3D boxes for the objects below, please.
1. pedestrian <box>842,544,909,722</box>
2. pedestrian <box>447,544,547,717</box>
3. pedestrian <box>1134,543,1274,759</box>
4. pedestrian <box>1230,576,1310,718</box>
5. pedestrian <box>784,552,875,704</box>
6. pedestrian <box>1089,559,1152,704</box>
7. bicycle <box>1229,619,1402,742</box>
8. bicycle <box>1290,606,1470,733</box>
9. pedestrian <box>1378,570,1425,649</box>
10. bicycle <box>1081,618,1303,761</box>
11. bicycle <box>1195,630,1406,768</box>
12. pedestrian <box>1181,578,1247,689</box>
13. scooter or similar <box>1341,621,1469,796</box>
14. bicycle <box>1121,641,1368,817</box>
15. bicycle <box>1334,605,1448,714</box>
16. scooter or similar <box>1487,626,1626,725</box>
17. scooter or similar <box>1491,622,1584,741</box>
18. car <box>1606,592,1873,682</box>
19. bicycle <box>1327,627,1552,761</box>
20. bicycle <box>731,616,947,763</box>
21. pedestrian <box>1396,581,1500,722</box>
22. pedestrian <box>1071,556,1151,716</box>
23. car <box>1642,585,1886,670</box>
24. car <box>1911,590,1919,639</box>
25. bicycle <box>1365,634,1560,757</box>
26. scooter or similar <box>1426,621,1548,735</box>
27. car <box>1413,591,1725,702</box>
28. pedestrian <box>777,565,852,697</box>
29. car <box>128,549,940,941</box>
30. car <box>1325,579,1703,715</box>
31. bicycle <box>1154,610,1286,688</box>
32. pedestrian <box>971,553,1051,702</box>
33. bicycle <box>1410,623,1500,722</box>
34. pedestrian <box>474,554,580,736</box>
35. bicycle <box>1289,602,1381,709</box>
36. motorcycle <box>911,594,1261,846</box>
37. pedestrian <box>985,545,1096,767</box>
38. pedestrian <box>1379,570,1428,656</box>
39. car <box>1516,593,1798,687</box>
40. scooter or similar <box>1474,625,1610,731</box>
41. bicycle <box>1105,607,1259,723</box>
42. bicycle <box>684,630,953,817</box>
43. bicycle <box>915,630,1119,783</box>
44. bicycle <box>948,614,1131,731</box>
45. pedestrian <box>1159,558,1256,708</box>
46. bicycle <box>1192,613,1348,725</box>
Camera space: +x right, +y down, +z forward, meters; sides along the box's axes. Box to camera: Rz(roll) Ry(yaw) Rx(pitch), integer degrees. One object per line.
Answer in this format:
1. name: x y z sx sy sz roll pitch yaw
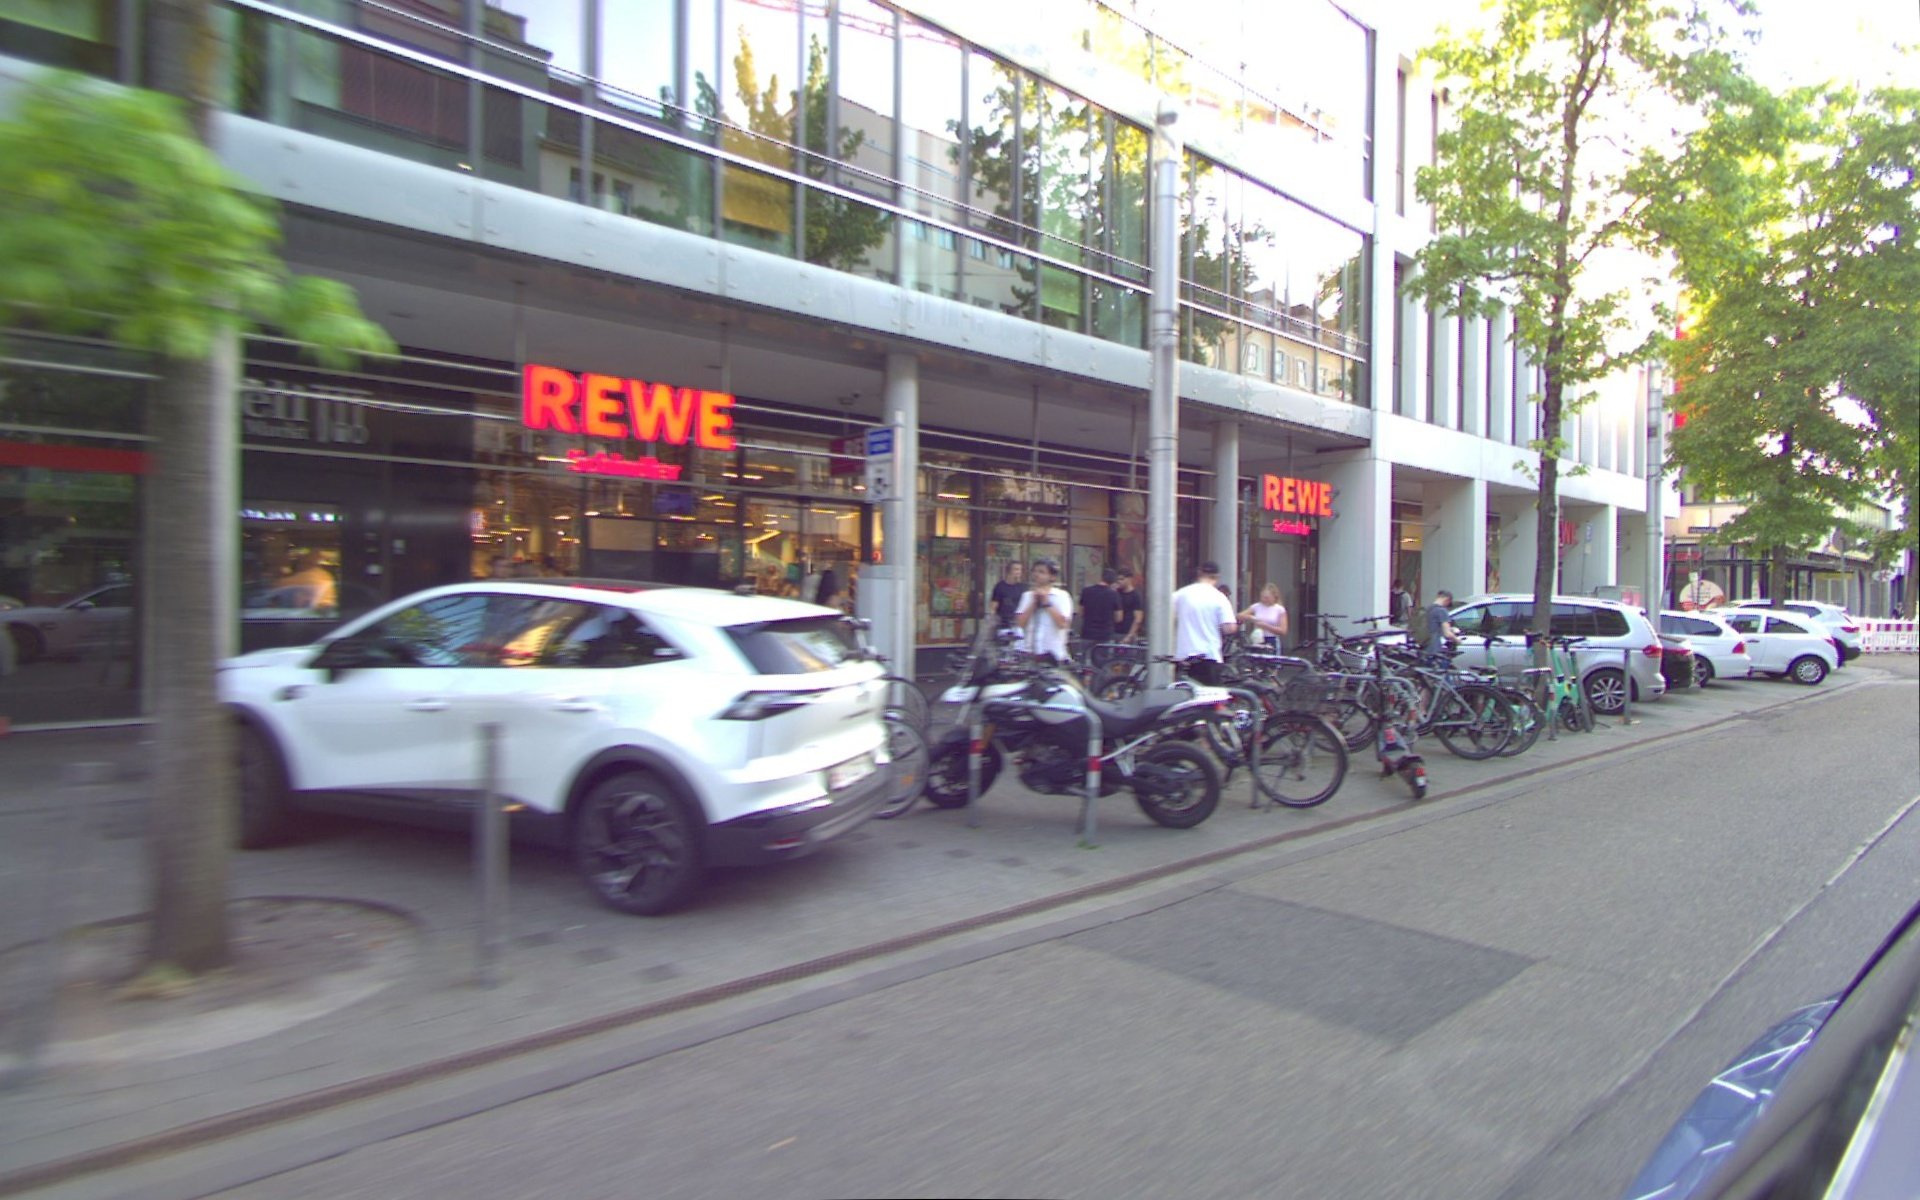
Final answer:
1. pedestrian: -0.918 0.332 10.949 0.647 1.835 0.793 2 1 -5
2. pedestrian: -4.834 0.294 10.570 0.791 1.720 0.663 -1 0 -41
3. pedestrian: 2.364 0.453 9.810 0.948 1.937 0.850 4 2 38
4. pedestrian: 3.734 0.544 12.240 0.647 1.644 0.707 2 1 -5
5. pedestrian: -1.541 0.322 11.940 0.791 1.721 0.681 2 -2 -41
6. pedestrian: 2.060 0.379 12.946 0.706 1.775 0.729 2 1 12
7. bicycle: 3.856 0.836 11.035 1.673 1.153 0.473 3 1 31
8. bicycle: 4.883 0.764 11.811 1.820 1.289 0.673 3 1 32
9. pedestrian: 9.878 0.214 22.645 0.791 1.721 0.681 2 -2 -41
10. bicycle: 2.274 0.830 10.027 1.986 1.162 0.690 4 1 32
11. bicycle: 3.228 0.912 9.708 1.810 1.089 0.620 4 1 19
12. pedestrian: 3.764 0.472 15.011 0.618 1.591 0.765 0 1 -17
13. scooter or similar: 3.810 0.875 8.779 0.686 1.320 1.389 2 1 11
14. bicycle: 2.185 0.941 7.838 1.727 1.131 0.802 2 1 19
15. bicycle: 5.630 0.742 13.339 0.628 1.265 1.664 2 1 -4
16. scooter or similar: 7.582 0.941 12.905 1.376 1.164 0.579 2 0 4
17. scooter or similar: 6.588 0.894 11.538 1.192 1.237 0.483 0 3 -39
18. car: 16.281 0.709 21.402 4.019 1.519 1.784 3 3 21
19. bicycle: 4.833 0.922 10.358 1.969 1.144 0.676 3 1 20
20. bicycle: -1.099 0.765 9.254 1.770 1.131 0.839 2 2 21
21. pedestrian: 6.010 0.611 12.487 0.753 1.646 0.794 1 1 -21
22. pedestrian: 1.776 0.408 11.982 0.702 1.835 0.661 2 1 -10
23. car: 19.432 0.600 24.742 4.230 1.692 1.935 3 3 26
24. car: 37.588 0.603 38.016 4.584 1.793 1.999 1 3 -38
25. bicycle: 5.197 0.966 10.565 1.727 1.089 0.491 3 1 20
26. scooter or similar: 6.091 0.879 11.700 1.255 1.220 0.571 1 1 -26
27. car: 10.249 0.694 17.415 4.312 1.440 1.936 4 3 29
28. pedestrian: -1.806 0.366 12.522 0.653 1.568 0.681 0 0 -41
29. car: -2.459 0.584 6.036 4.287 1.582 1.867 3 2 18
30. car: 8.133 0.615 15.395 4.609 1.660 1.947 3 2 15
31. bicycle: 3.867 0.720 15.039 1.843 1.096 0.575 1 1 -17
32. pedestrian: 0.647 0.331 12.901 0.703 1.835 0.660 1 1 -36
33. bicycle: 6.395 0.896 13.170 0.622 1.089 1.871 3 1 14
34. pedestrian: -4.306 0.417 10.066 0.791 1.720 0.681 -1 0 -41
35. bicycle: 5.046 0.709 13.701 0.569 1.304 1.595 2 1 -1
36. motorcycle: 0.822 0.749 6.875 2.167 1.490 0.795 2 0 6
37. pedestrian: 0.719 0.467 8.911 0.806 1.835 0.598 4 1 12
38. pedestrian: 9.476 0.280 21.621 0.791 1.794 0.681 2 -2 -41
39. car: 13.489 0.712 19.961 4.310 1.440 1.811 4 2 28
40. scooter or similar: 7.040 0.925 12.282 1.312 1.196 0.497 1 0 13
41. bicycle: 2.575 0.731 11.813 1.670 1.204 0.553 3 1 13
42. bicycle: -1.014 0.844 7.423 1.725 1.131 0.914 2 1 16
43. bicycle: 0.477 0.867 8.601 1.578 1.046 0.550 5 2 21
44. bicycle: 0.866 0.743 10.957 1.810 1.108 0.819 2 1 19
45. pedestrian: 3.170 0.400 13.042 0.919 1.835 0.888 2 1 -5
46. bicycle: 3.695 0.785 12.133 1.685 1.164 0.495 3 1 35
